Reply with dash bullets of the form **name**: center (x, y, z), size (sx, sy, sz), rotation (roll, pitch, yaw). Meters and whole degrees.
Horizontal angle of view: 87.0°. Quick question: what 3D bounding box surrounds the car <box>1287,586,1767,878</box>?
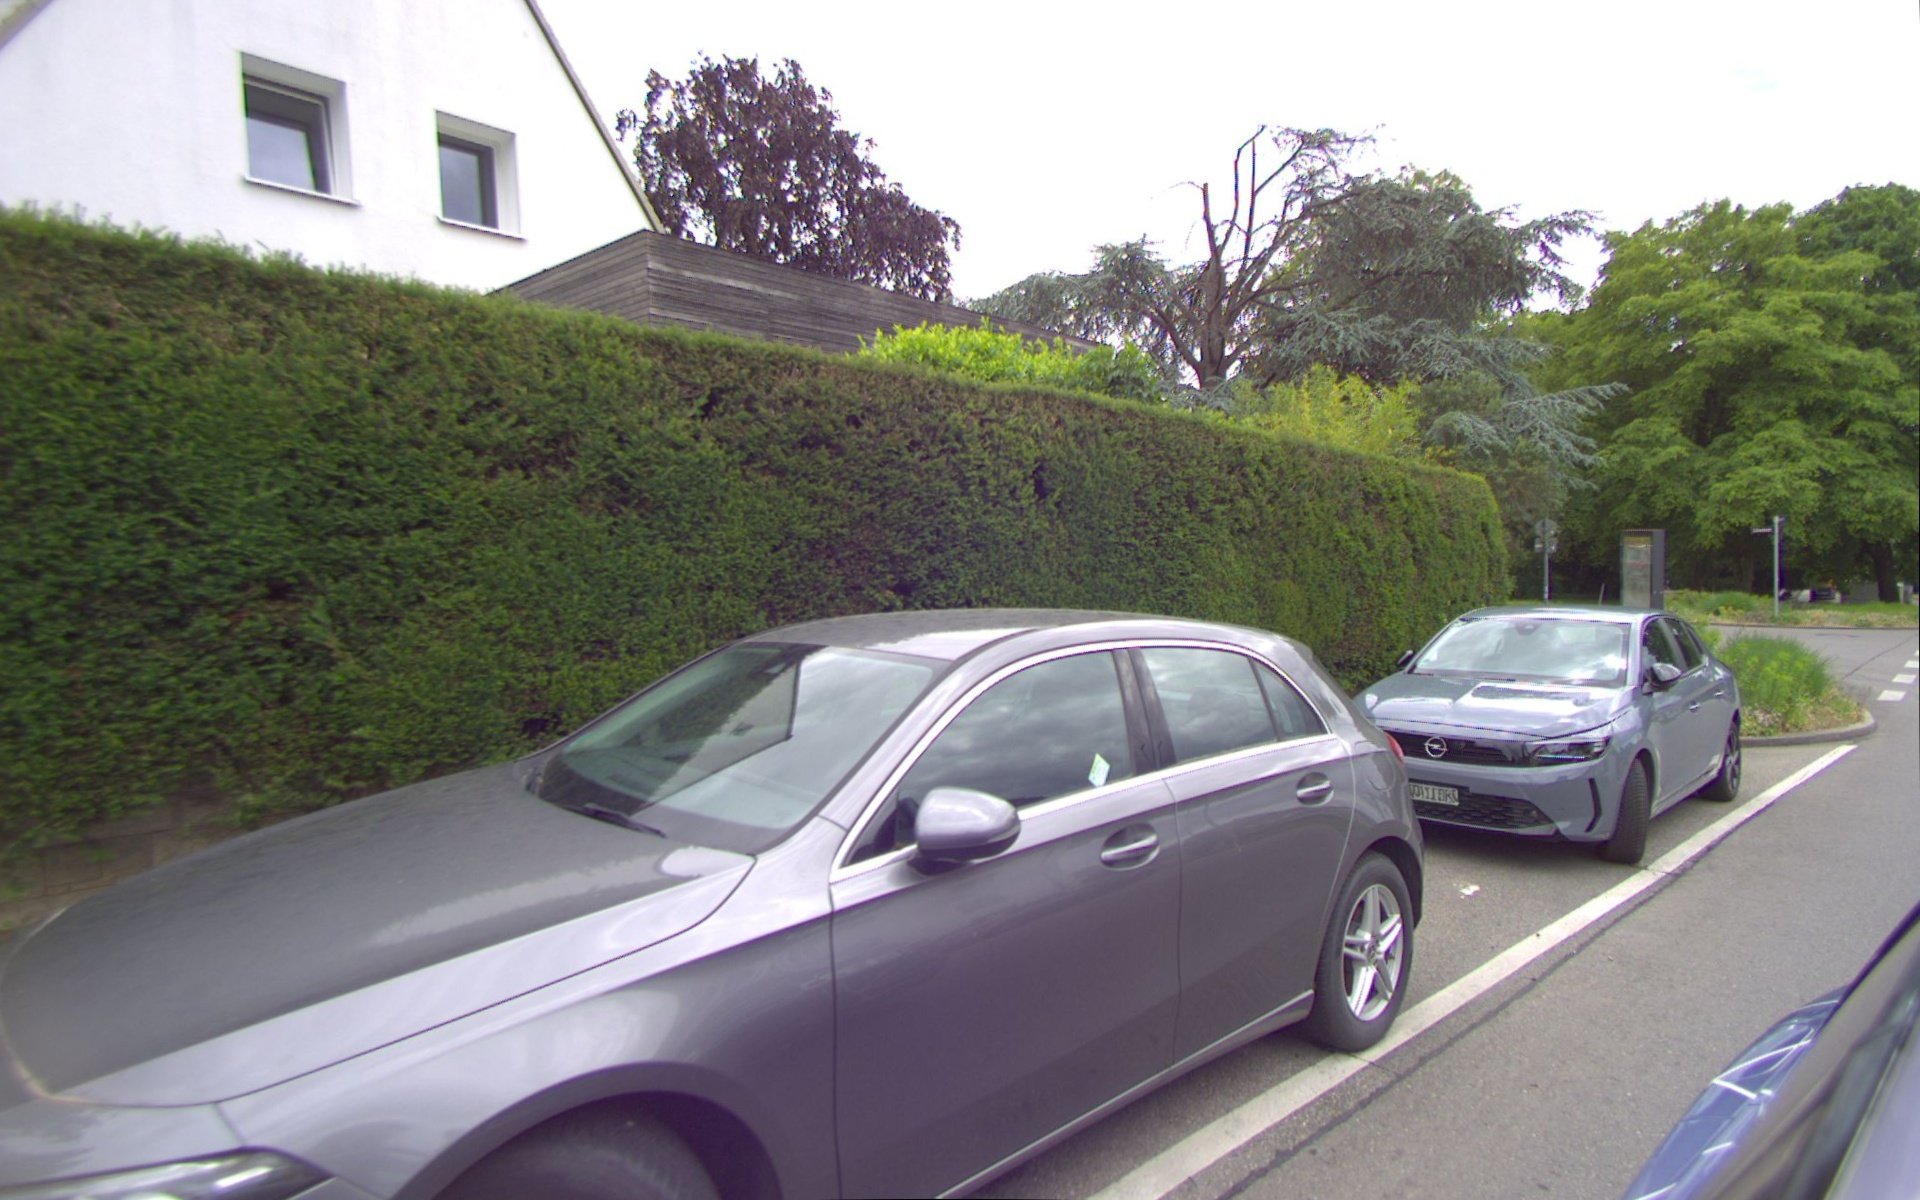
- **car**: center (4.175, 0.647, 7.180), size (3.932, 1.482, 1.857), rotation (-1, 1, -43)

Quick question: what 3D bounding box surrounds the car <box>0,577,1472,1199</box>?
- **car**: center (-0.294, 0.691, 2.918), size (4.101, 1.482, 1.857), rotation (-1, 1, -43)
